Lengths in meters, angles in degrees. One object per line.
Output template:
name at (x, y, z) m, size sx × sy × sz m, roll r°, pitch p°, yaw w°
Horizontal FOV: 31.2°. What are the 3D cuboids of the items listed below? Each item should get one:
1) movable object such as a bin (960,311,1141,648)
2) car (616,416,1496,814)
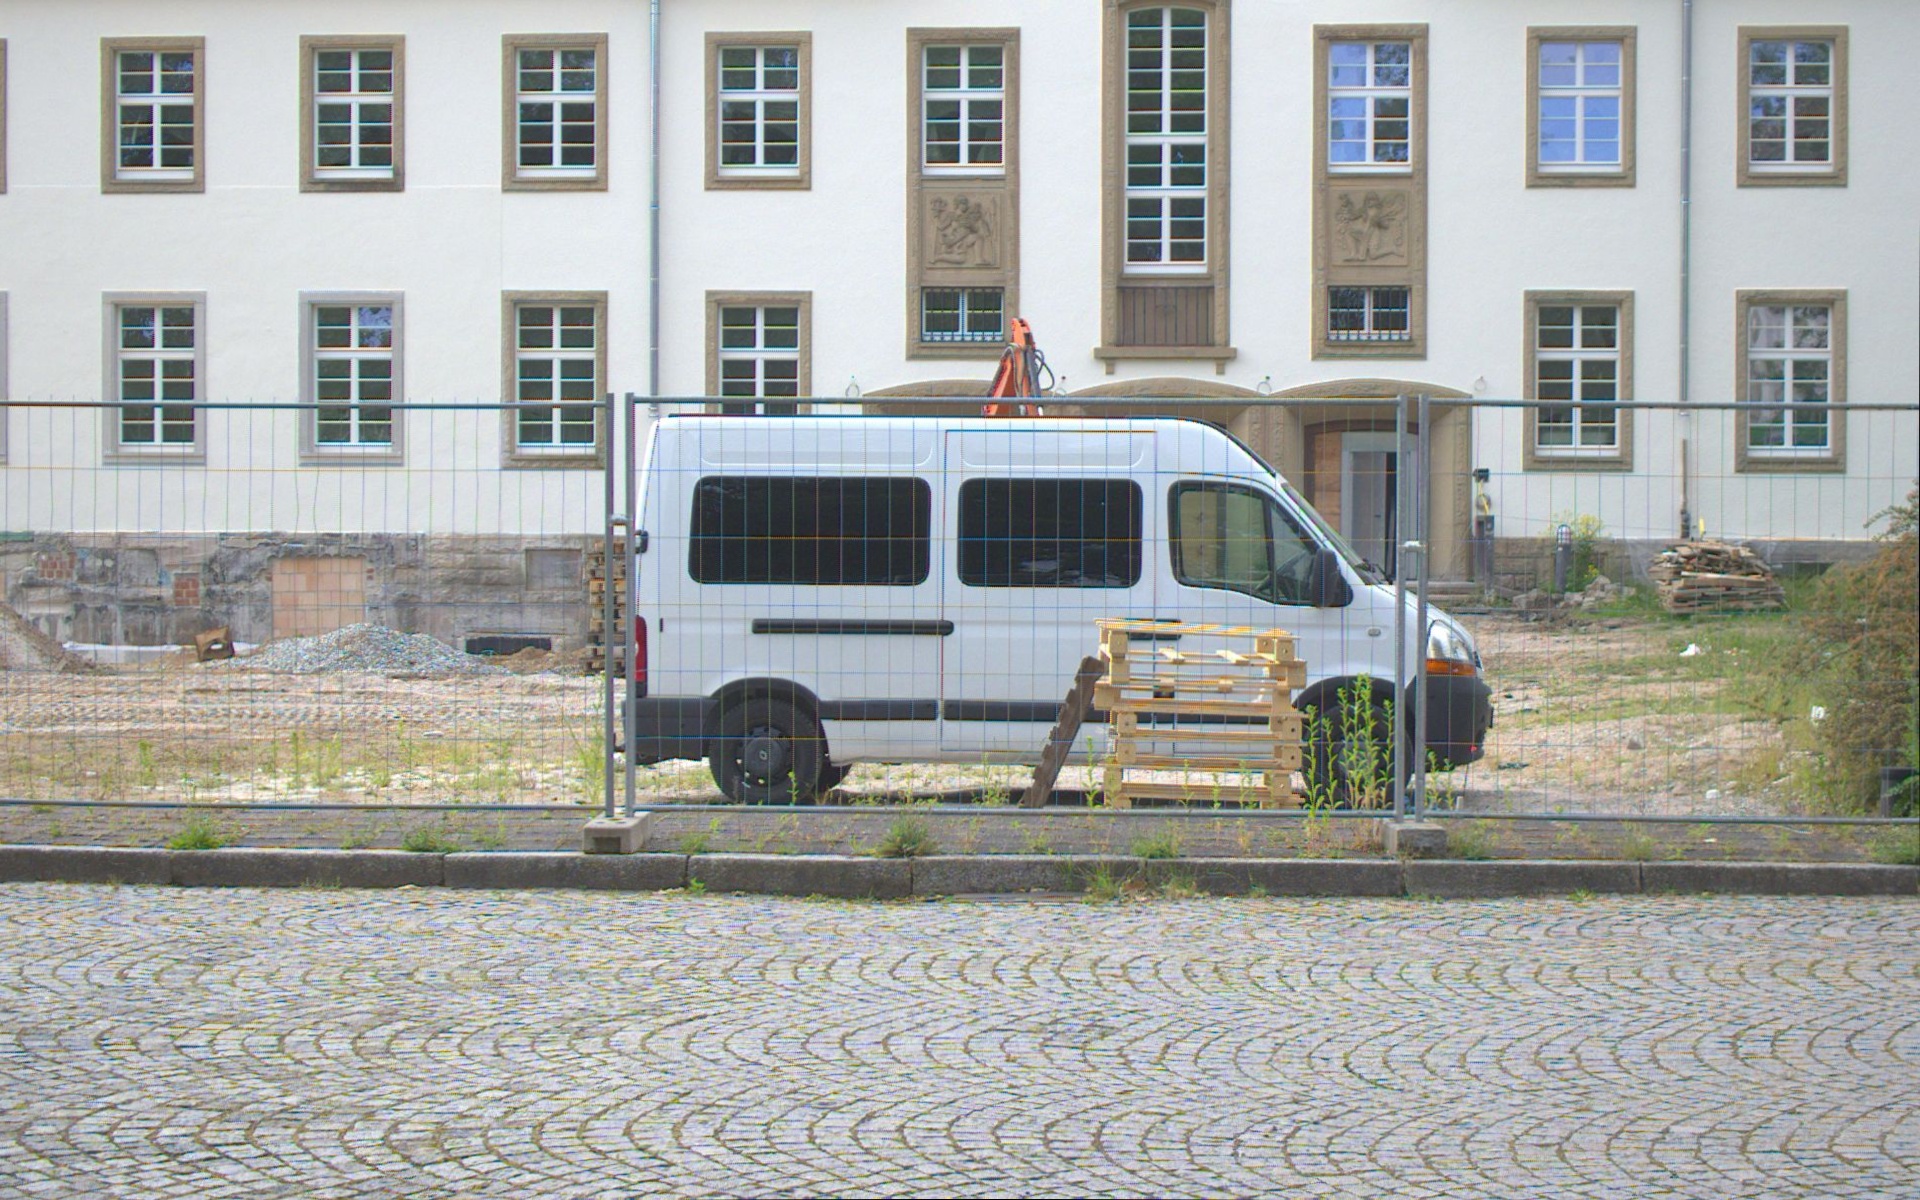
movable object such as a bin at (1.024, -1.407, 41.204) m, size 1.993 × 3.758 × 5.318 m, roll 1°, pitch 1°, yaw 0°
car at (0.629, 0.054, 21.559) m, size 5.264 × 2.336 × 1.910 m, roll 1°, pitch 1°, yaw 5°
